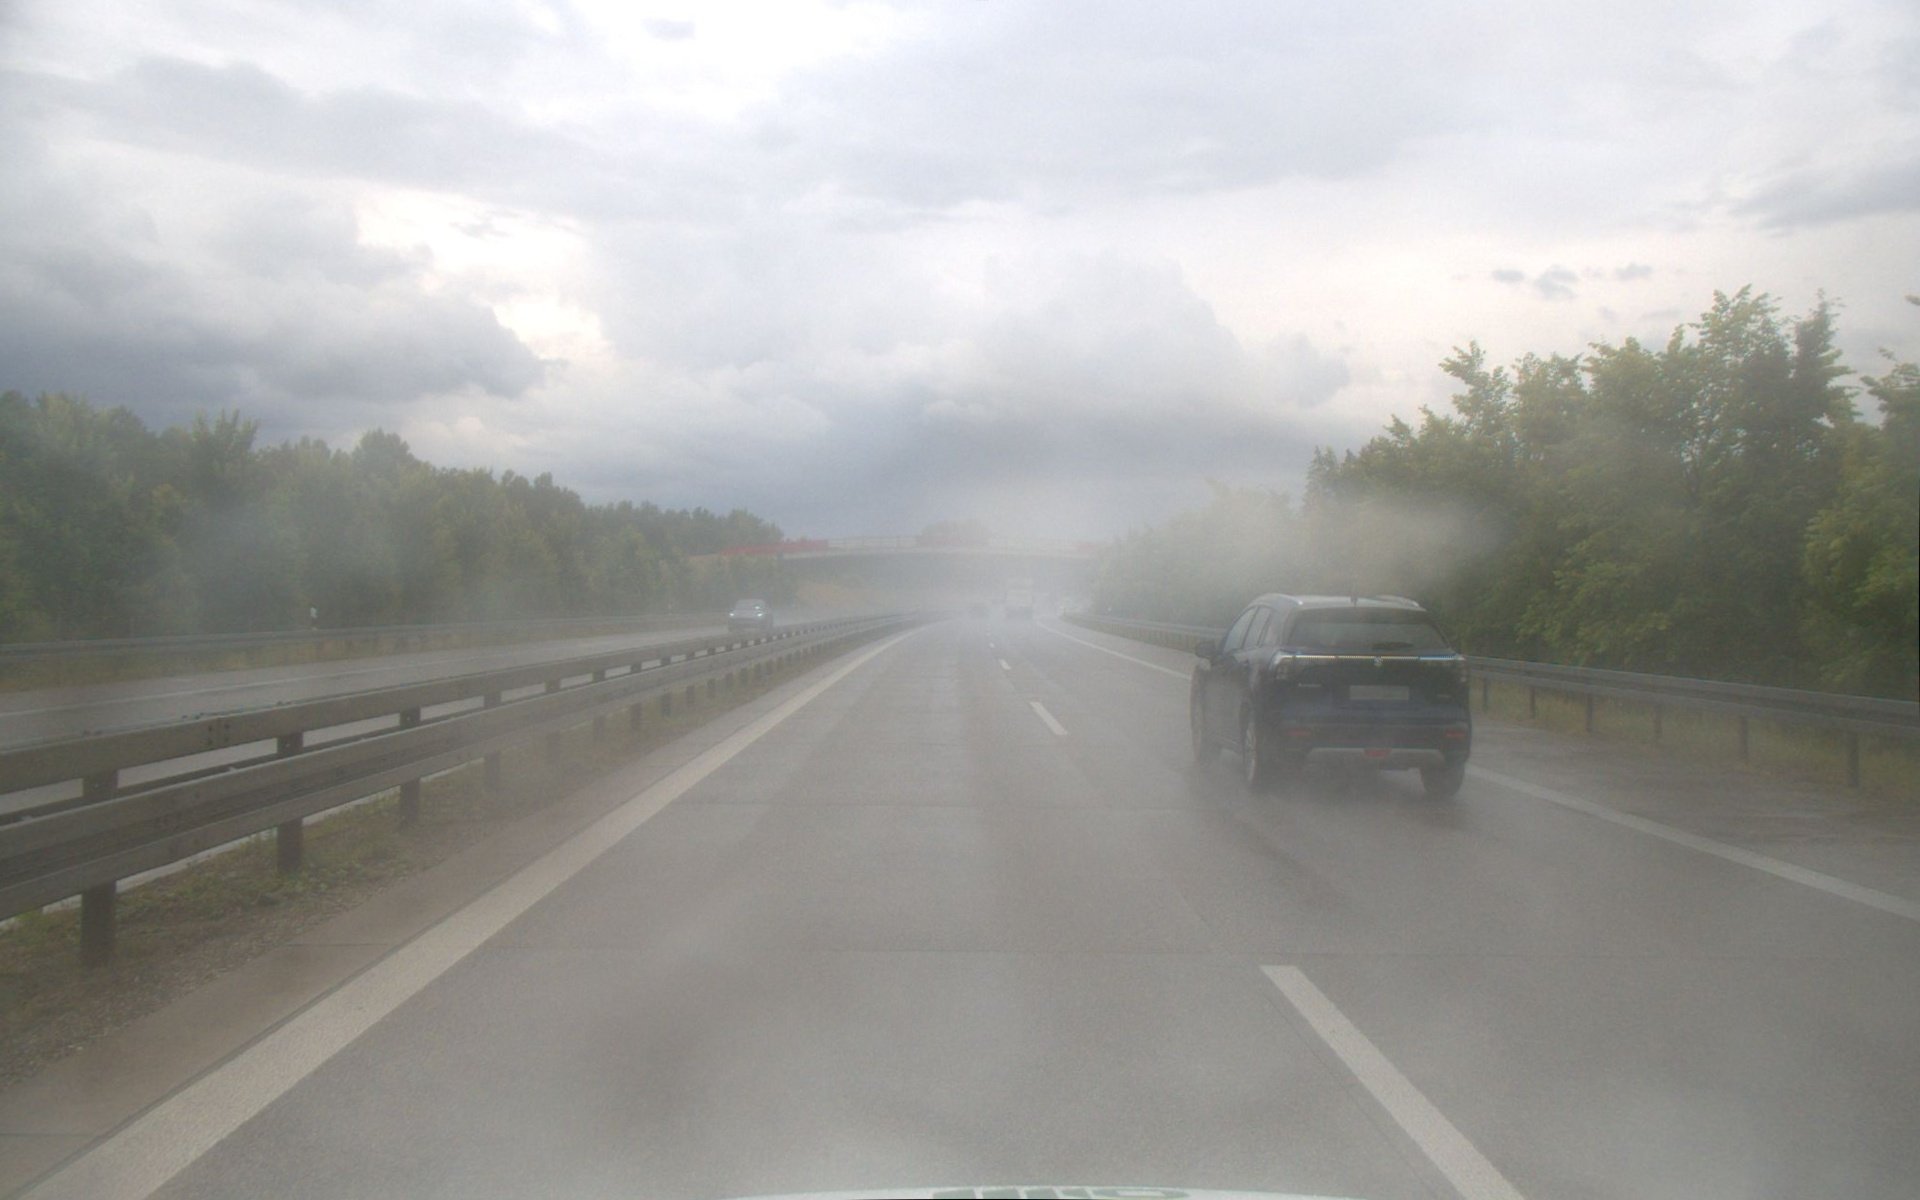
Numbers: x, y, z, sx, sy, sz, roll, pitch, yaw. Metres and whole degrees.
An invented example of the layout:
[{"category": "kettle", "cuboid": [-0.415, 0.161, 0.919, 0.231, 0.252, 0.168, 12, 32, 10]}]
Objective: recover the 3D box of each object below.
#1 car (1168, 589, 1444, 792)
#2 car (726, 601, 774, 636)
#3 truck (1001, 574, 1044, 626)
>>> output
[{"category": "car", "cuboid": [3.010, 0.732, 15.119, 1.855, 1.603, 3.632, 1, 0, 2]}, {"category": "car", "cuboid": [-10.804, 0.924, 85.339, 1.953, 1.610, 4.000, -2, 1, -1]}, {"category": "truck", "cuboid": [5.651, -0.009, 148.661, 3.174, 4.514, 8.252, 0, 0, 7]}]
